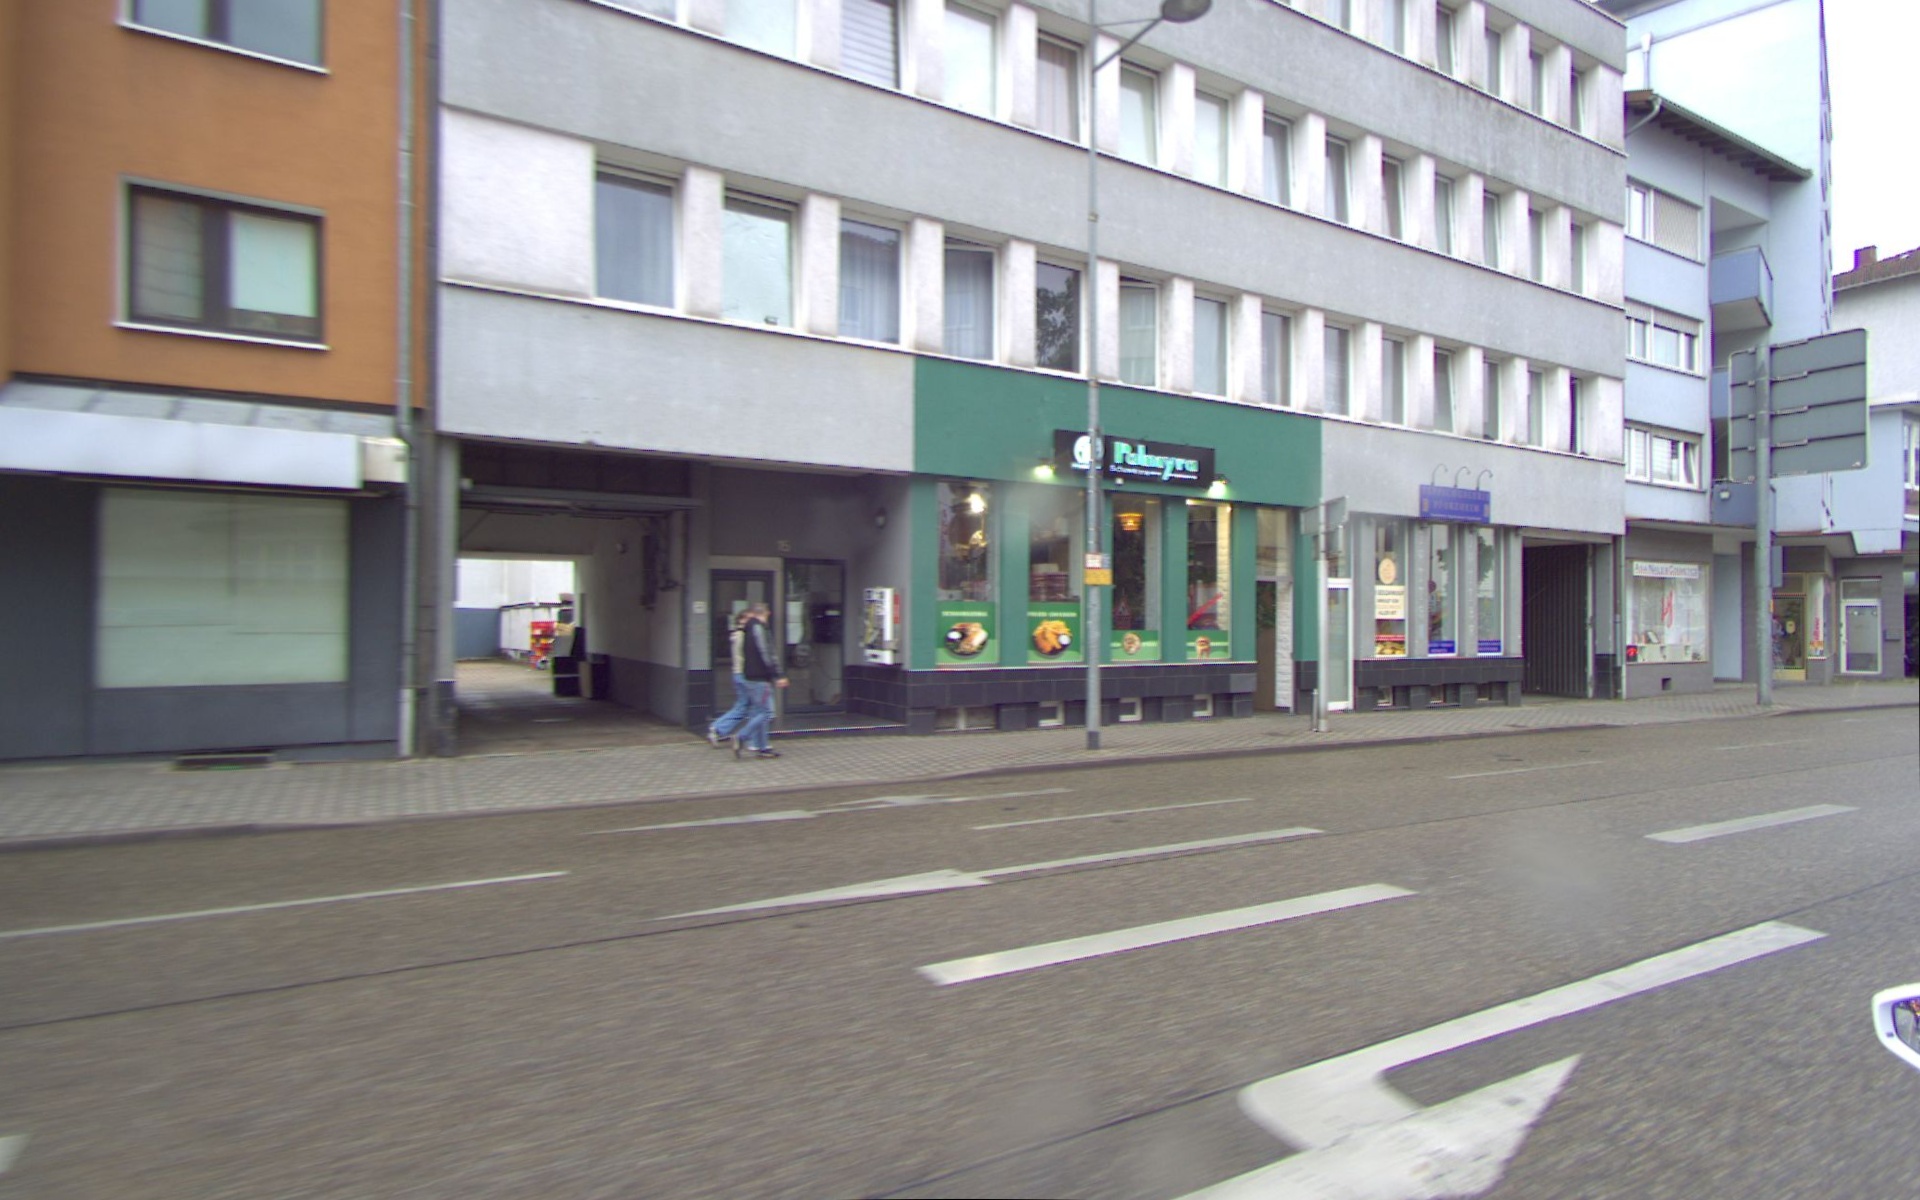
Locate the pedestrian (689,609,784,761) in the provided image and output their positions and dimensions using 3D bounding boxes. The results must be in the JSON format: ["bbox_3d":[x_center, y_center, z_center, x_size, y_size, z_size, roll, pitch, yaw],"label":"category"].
[{"bbox_3d":[-2.669,0.988,11.973,0.898,1.698,0.627,1,3,-30],"label":"pedestrian"}]

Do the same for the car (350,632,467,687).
[{"bbox_3d":[-15.760,1.646,28.635,3.945,1.464,1.820,-2,-3,43],"label":"car"}]

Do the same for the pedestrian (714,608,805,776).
[{"bbox_3d":[-2.280,1.021,11.416,0.817,1.812,0.572,1,3,-29],"label":"pedestrian"}]

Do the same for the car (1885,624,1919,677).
[{"bbox_3d":[38.537,1.979,38.740,1.561,2.061,3.946,1,-2,-29],"label":"car"}]
